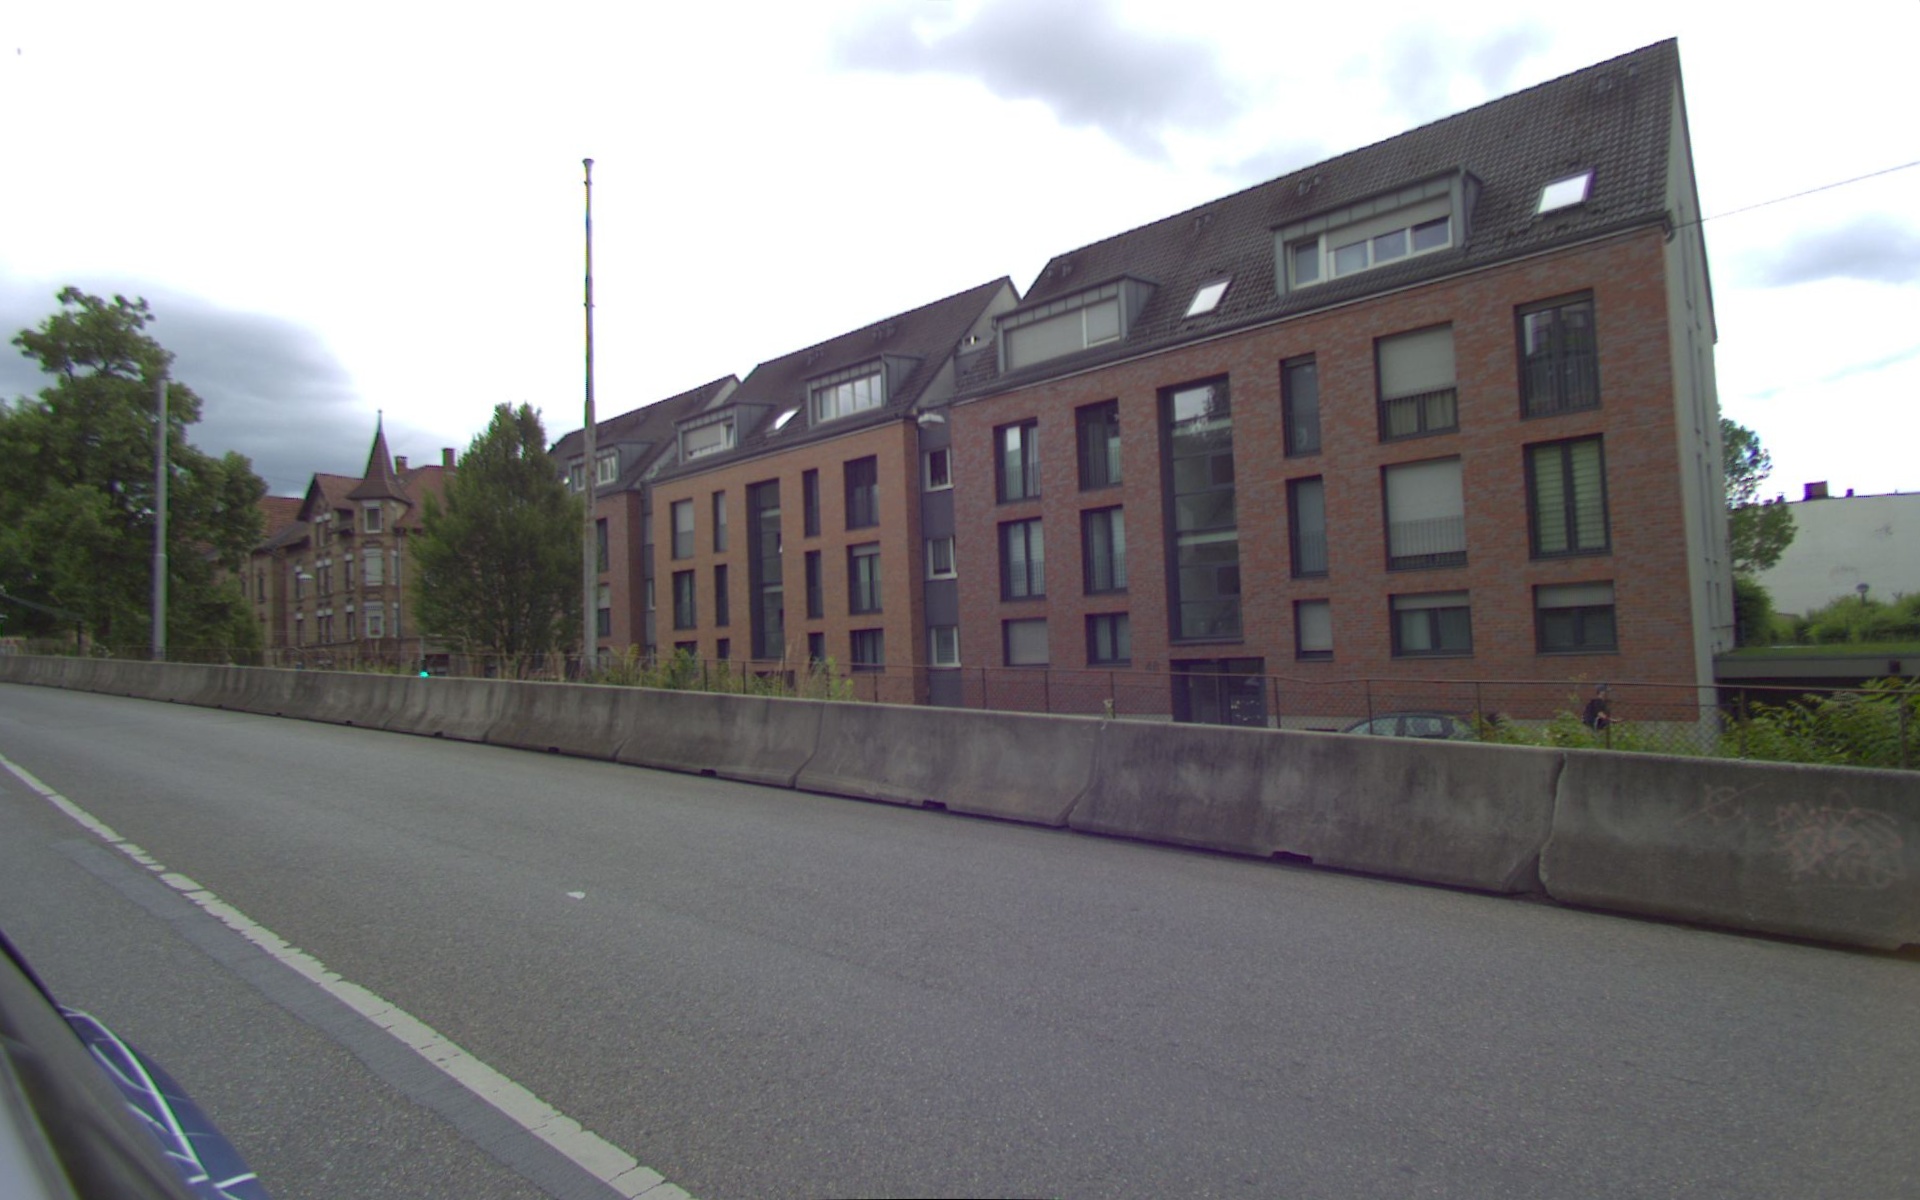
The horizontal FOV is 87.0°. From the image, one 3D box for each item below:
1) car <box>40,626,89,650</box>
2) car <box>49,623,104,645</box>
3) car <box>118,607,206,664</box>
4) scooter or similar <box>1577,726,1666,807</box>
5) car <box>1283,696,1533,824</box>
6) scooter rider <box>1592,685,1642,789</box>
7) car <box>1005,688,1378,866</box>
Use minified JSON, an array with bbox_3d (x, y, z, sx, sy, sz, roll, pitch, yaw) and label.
[{"bbox_3d":[-62.214,2.616,70.268,3.997,1.564,1.973,-2,-2,40],"label":"car"},{"bbox_3d":[-54.644,2.102,62.572,3.997,1.364,1.973,-2,-3,40],"label":"car"},{"bbox_3d":[-39.369,1.657,49.873,5.735,2.601,2.531,0,1,43],"label":"car"},{"bbox_3d":[11.417,2.854,17.483,1.226,1.251,0.374,-2,-1,41],"label":"scooter or similar"},{"bbox_3d":[8.025,2.780,18.307,3.765,1.815,1.696,-3,-1,41],"label":"car"},{"bbox_3d":[11.381,2.358,17.529,0.577,1.718,0.482,-5,-3,41],"label":"scooter rider"},{"bbox_3d":[2.587,1.915,11.870,3.996,1.525,1.519,-2,-1,39],"label":"car"}]
